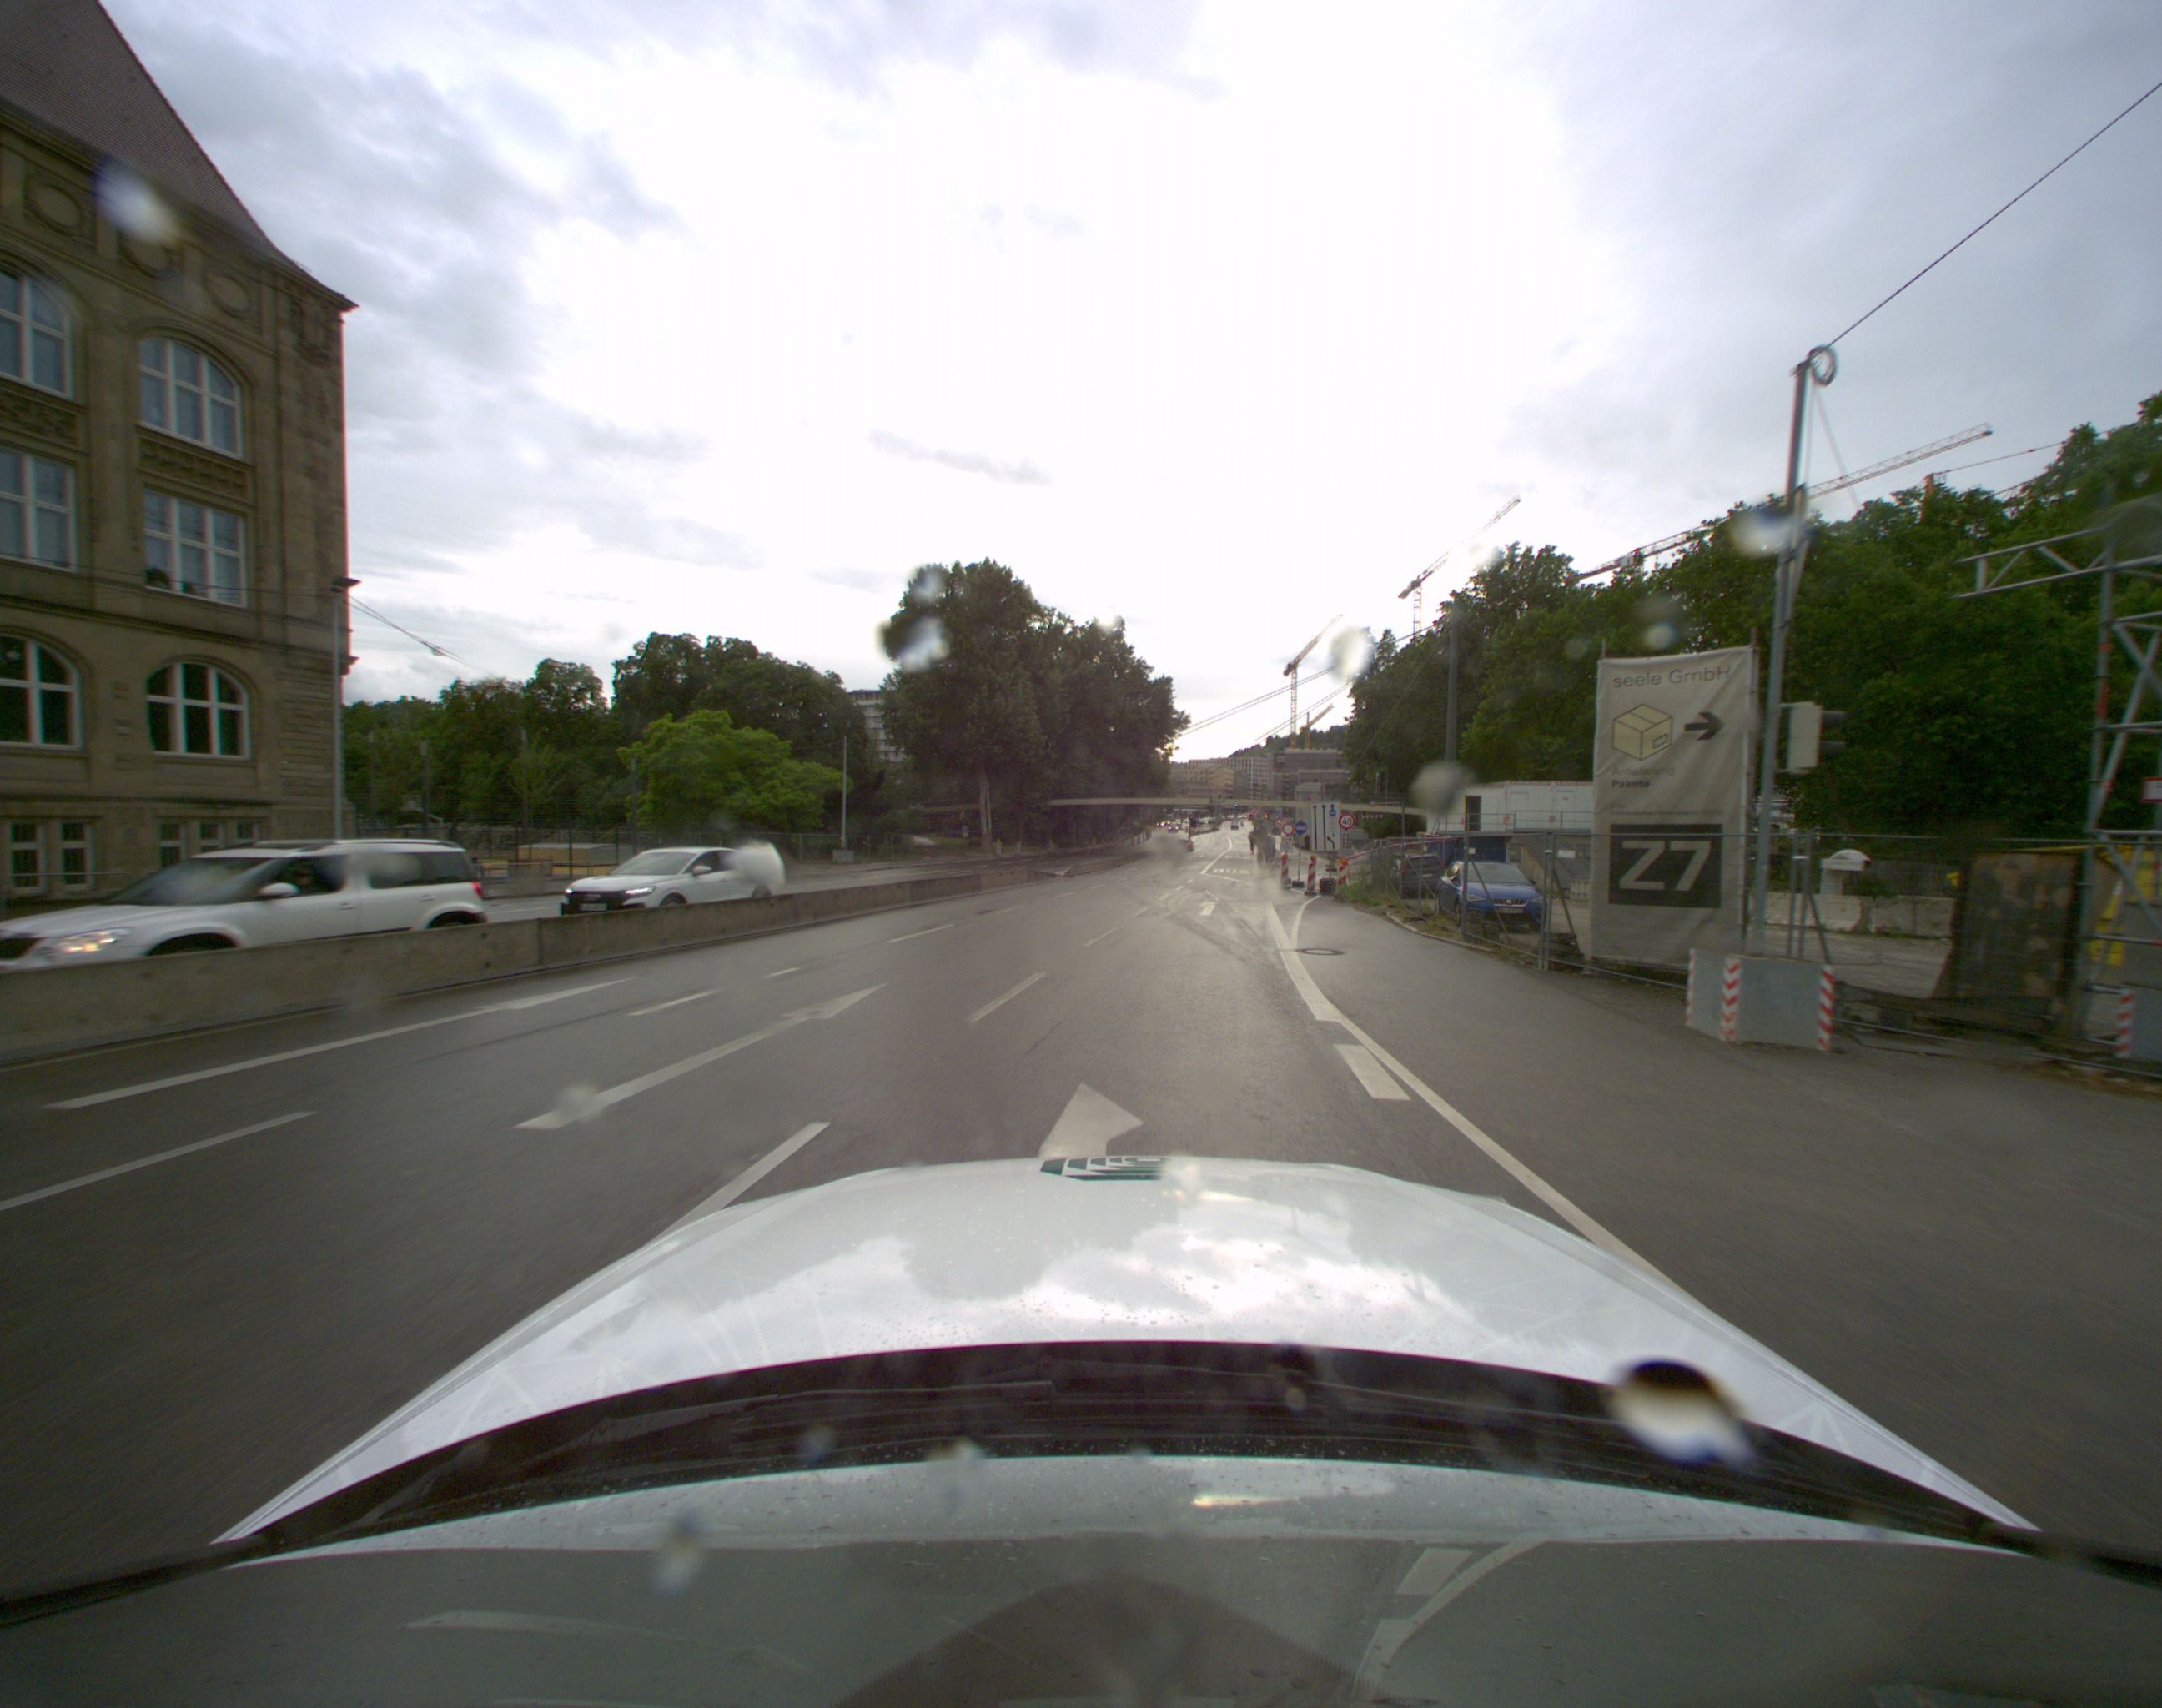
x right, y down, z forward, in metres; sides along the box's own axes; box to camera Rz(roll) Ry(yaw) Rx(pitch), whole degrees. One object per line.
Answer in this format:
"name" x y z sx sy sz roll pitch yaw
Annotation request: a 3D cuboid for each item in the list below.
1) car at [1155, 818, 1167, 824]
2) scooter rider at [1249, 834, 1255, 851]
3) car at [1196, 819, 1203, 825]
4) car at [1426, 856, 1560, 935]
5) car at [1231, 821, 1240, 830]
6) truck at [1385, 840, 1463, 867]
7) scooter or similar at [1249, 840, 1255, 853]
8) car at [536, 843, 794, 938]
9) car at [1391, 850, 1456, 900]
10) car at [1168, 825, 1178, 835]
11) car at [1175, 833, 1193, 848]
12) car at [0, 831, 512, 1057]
"car" 22.025 -9.069 224.236 2.031 1.652 4.305 -1 3 -10
"scooter rider" 18.115 -1.213 86.152 0.593 1.785 1.001 1 3 13
"car" 36.579 -9.928 251.568 1.891 1.528 4.187 -1 0 8
"car" 9.292 0.844 18.761 1.819 1.441 4.430 2 1 14
"car" 37.193 -6.945 196.134 1.980 2.013 4.014 -1 0 12
"truck" 26.634 -0.056 63.442 5.130 2.013 2.412 1 0 4
"scooter or similar" 18.122 -0.766 86.176 0.593 1.318 1.674 1 3 13
"car" -7.772 0.584 15.920 1.882 1.567 4.912 -1 0 10
"car" 13.167 0.761 31.543 1.906 1.649 4.434 -4 -1 19
"car" 19.717 -5.200 174.852 2.020 1.936 5.054 -5 1 7
"car" 11.434 -1.499 89.983 1.891 1.528 4.187 -1 0 8
"car" -9.045 0.733 9.032 1.897 1.866 4.391 -1 0 10
